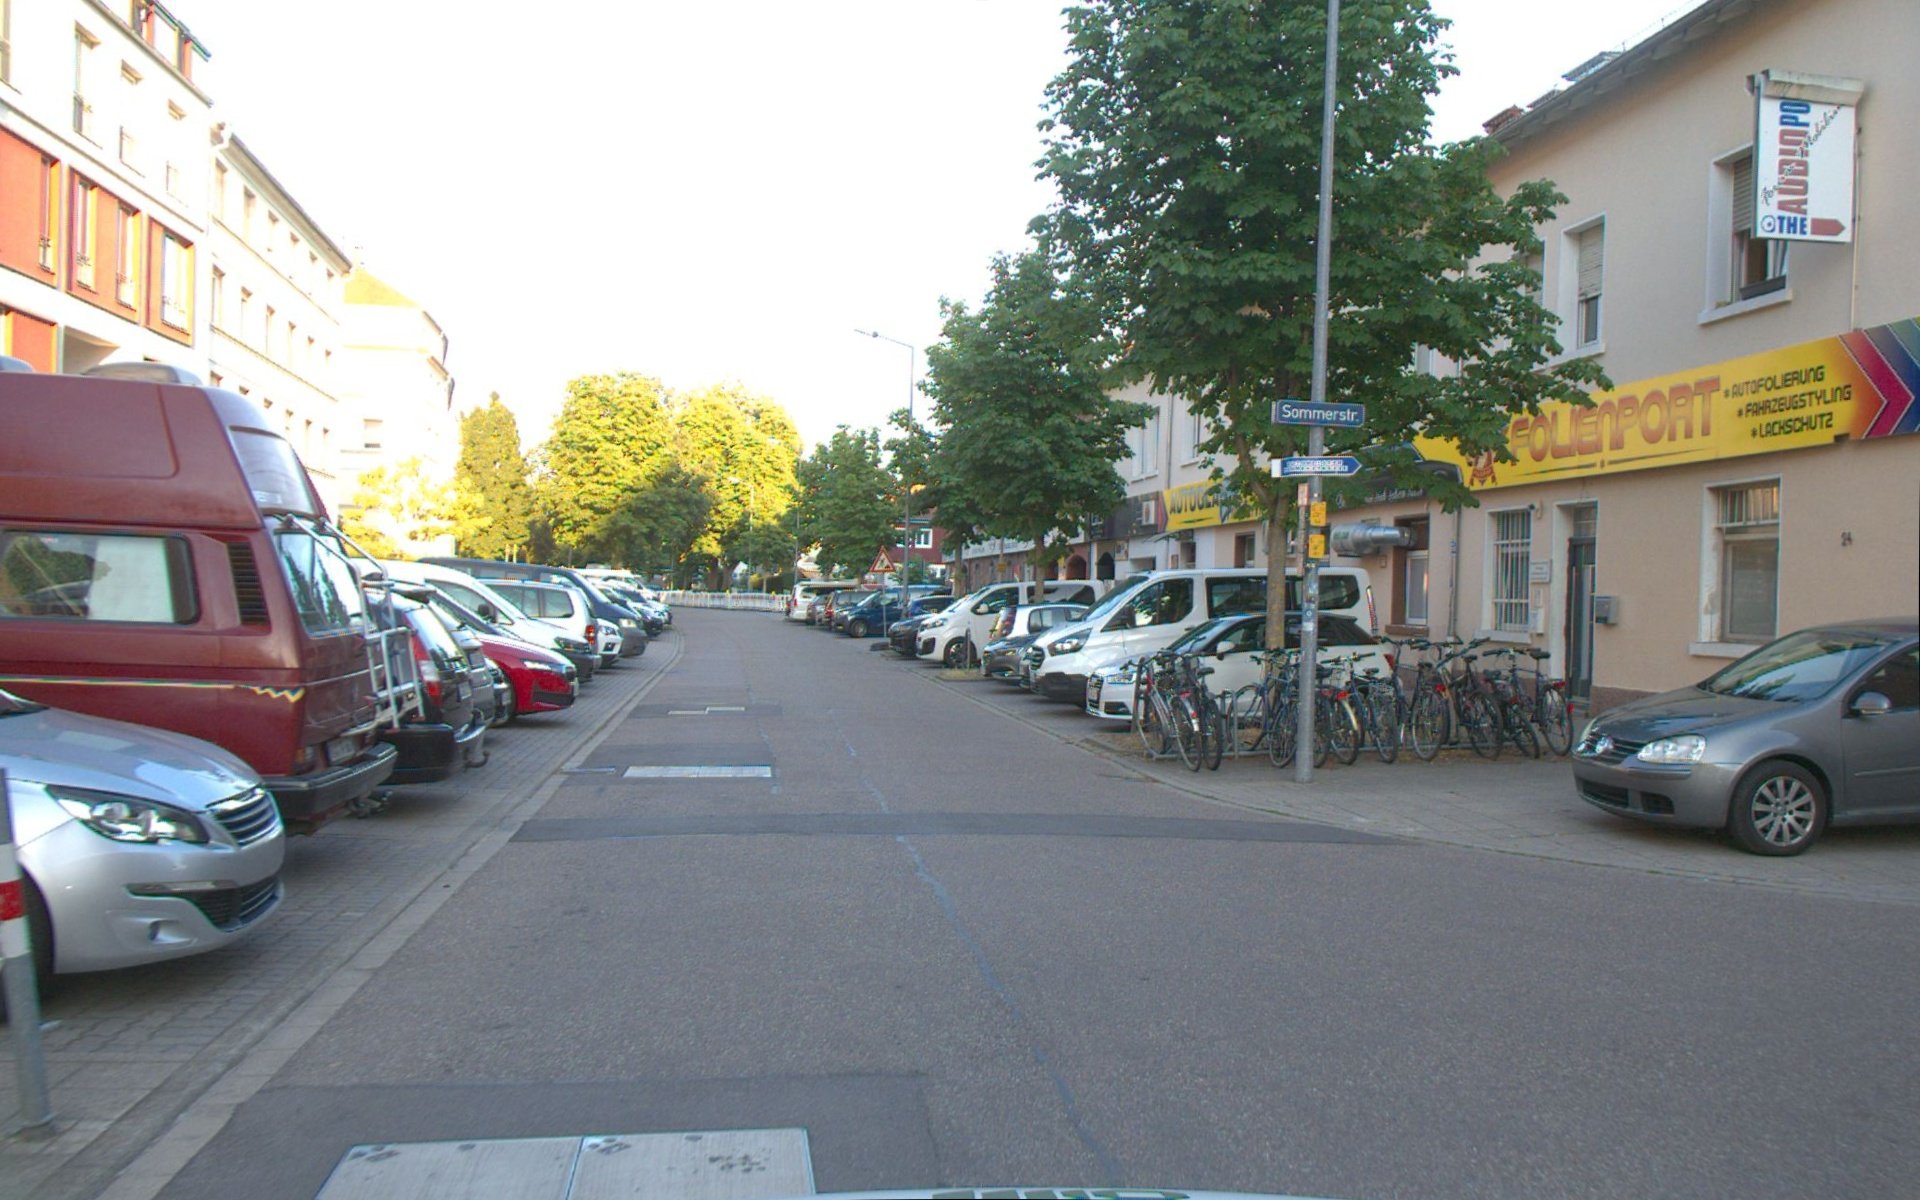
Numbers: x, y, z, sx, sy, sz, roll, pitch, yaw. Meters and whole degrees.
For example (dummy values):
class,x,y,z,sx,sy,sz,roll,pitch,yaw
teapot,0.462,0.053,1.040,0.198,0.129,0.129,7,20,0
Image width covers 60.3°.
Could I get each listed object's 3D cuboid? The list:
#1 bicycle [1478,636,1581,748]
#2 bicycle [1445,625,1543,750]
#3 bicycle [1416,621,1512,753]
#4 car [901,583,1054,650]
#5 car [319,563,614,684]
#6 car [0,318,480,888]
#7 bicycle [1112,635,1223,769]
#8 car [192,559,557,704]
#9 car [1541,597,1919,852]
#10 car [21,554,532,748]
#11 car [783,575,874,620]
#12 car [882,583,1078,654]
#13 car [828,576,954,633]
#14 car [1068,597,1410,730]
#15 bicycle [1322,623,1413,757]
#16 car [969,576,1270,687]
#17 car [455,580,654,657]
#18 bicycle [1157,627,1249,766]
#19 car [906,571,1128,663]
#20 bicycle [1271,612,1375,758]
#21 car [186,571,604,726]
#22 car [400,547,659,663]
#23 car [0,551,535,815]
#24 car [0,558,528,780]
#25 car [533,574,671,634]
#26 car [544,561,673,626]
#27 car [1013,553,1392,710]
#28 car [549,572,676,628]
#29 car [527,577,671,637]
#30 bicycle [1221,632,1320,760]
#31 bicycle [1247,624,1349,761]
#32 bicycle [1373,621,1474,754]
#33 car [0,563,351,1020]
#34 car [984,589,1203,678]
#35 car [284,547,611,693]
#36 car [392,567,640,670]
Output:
class,x,y,z,sx,sy,sz,roll,pitch,yaw
bicycle,5.737,0.905,16.725,0.380,1.035,1.479,0,1,-7
bicycle,5.349,0.850,16.628,0.346,1.163,1.479,0,1,-7
bicycle,5.007,0.839,16.501,0.346,1.221,1.479,0,1,-7
car,0.480,0.460,48.258,4.237,1.835,1.807,-1,0,-9
car,-7.805,0.359,26.543,4.176,1.689,1.997,3,0,-8
car,-5.040,-0.038,8.706,4.424,2.629,1.998,3,0,-6
bicycle,1.989,0.952,16.091,0.430,1.150,2.011,0,1,-12
car,-7.514,0.401,21.636,4.132,1.644,1.996,3,0,-9
car,6.376,0.788,11.621,3.973,1.540,1.754,0,2,-7
car,-6.397,0.472,15.979,4.132,1.603,1.996,3,0,-9
car,-6.049,-0.119,75.766,3.898,1.945,2.043,-1,0,-12
car,0.485,0.446,43.319,4.853,1.718,2.073,-1,1,-9
car,-2.529,0.148,60.525,4.400,1.945,1.683,-1,0,-12
car,3.429,0.741,20.653,3.847,1.476,1.764,-1,1,-10
bicycle,4.022,0.863,16.415,0.378,1.221,1.479,0,1,-7
car,2.686,0.505,28.570,4.849,1.772,2.046,-1,1,-7
car,-9.246,0.413,38.035,4.176,1.531,1.997,3,0,-8
bicycle,2.373,0.911,16.329,0.378,1.221,2.014,0,1,-7
car,1.282,0.361,38.442,4.853,1.992,2.045,-1,0,-9
bicycle,3.594,0.807,16.517,0.378,1.327,2.014,0,1,-7
car,-6.273,0.526,18.797,4.129,1.516,1.847,3,0,-7
car,-8.590,0.102,33.398,4.759,2.056,1.903,3,0,-8
car,-5.150,0.514,11.283,4.132,1.565,1.787,3,0,-9
car,-5.922,0.523,13.766,4.124,1.565,1.841,3,0,-2
car,-11.682,0.113,54.168,4.176,1.744,1.997,3,0,-8
car,-13.020,-0.252,61.518,4.448,2.171,1.997,3,0,-8
car,3.349,0.401,23.446,4.895,2.018,2.216,-1,0,-7
car,-12.339,0.005,58.954,4.176,1.780,1.997,3,0,-8
car,-11.184,0.196,51.541,4.177,1.650,1.996,3,0,-9
bicycle,3.060,0.918,16.452,0.378,1.133,2.014,0,1,-7
bicycle,3.340,0.879,16.475,0.378,1.221,2.014,0,1,-7
bicycle,4.588,0.842,16.456,0.436,1.221,1.479,0,1,-7
car,-4.819,0.558,6.057,4.533,1.485,1.876,3,0,-11
car,2.489,0.607,31.368,3.837,1.552,1.936,-1,1,-7
car,-7.346,0.285,24.113,4.176,1.868,1.997,3,0,-8
car,-8.205,0.331,30.877,4.176,1.681,1.885,3,0,-8
